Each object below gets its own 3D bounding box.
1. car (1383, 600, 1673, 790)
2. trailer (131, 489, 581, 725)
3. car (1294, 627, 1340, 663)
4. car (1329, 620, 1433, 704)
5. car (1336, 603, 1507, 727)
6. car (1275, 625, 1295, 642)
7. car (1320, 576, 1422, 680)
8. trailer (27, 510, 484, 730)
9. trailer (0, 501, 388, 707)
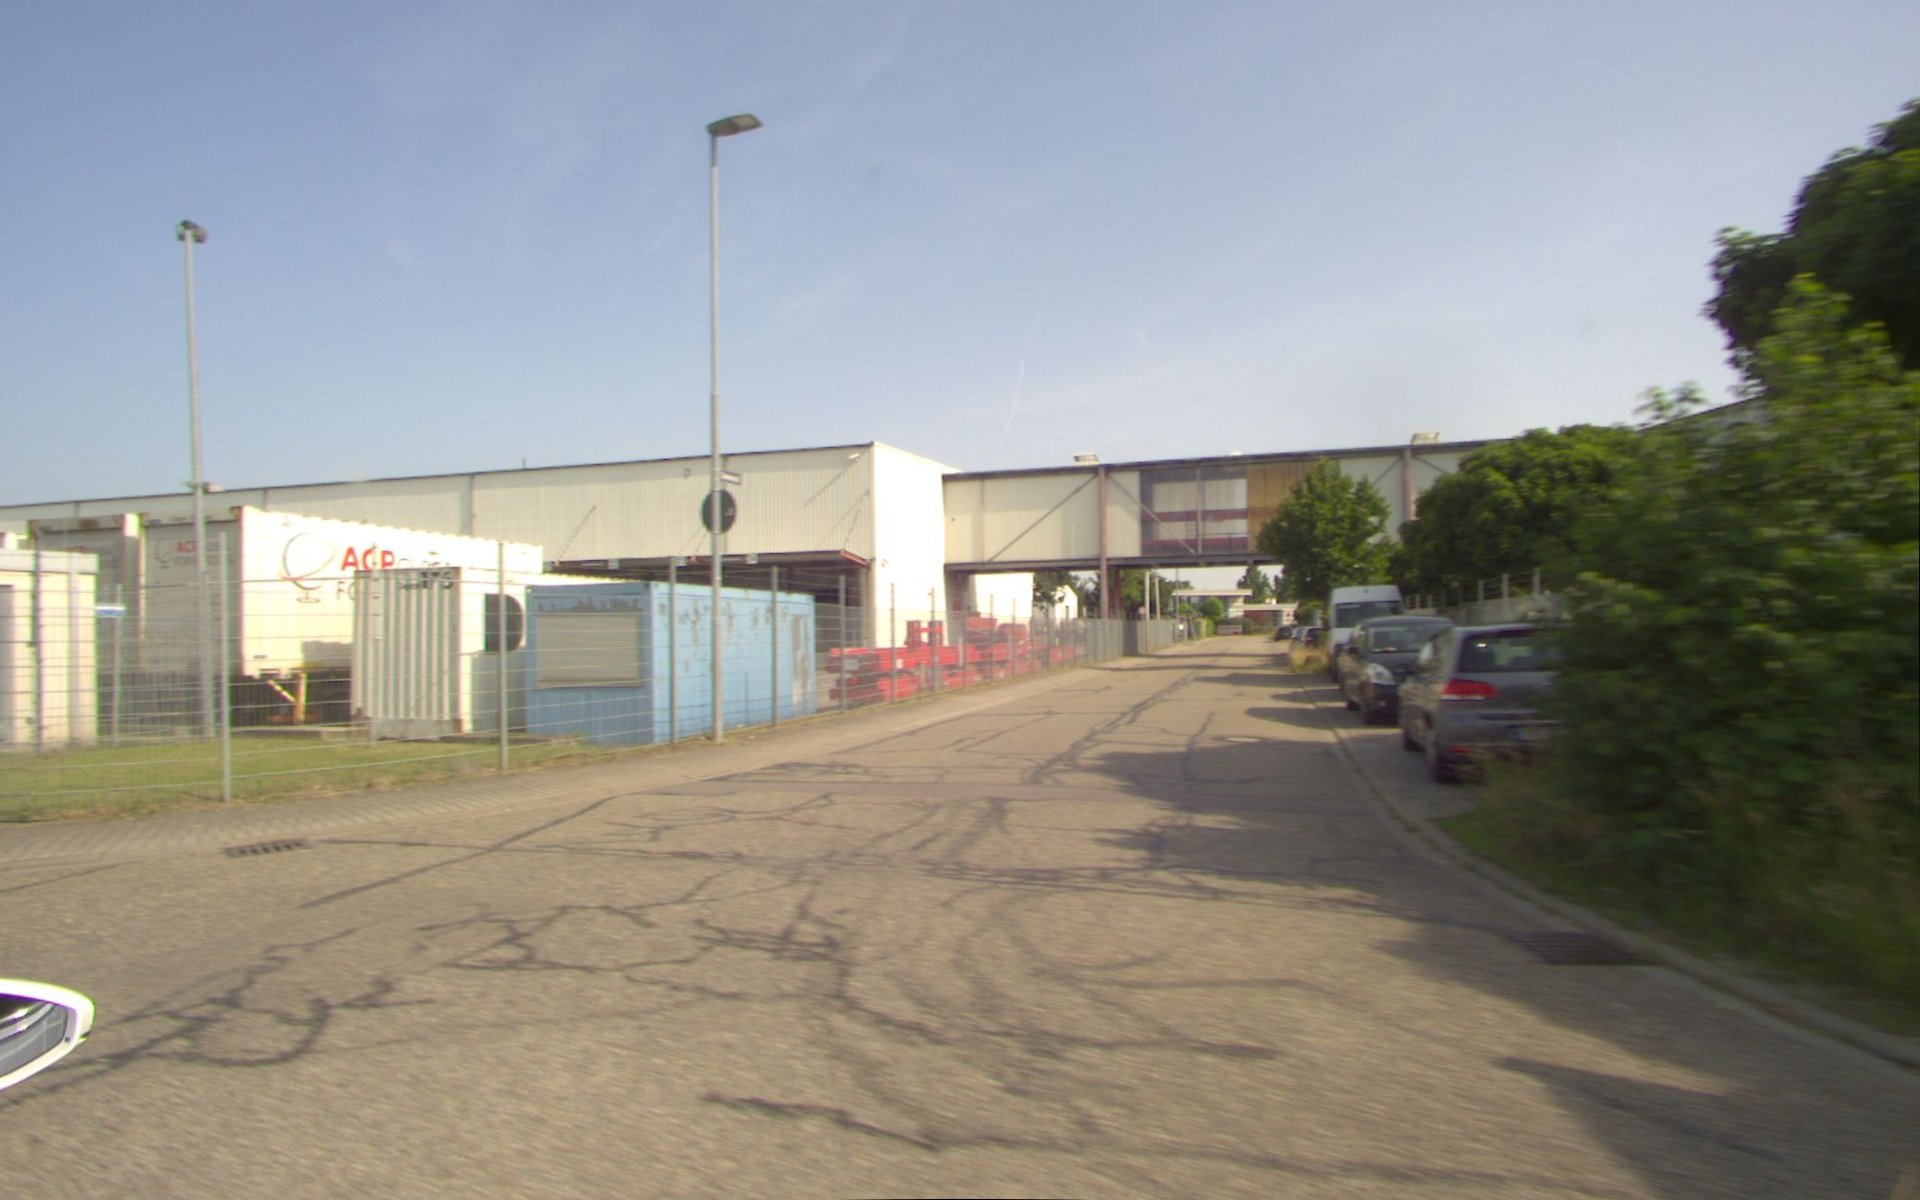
[{"bbox_3d":[5.545,0.895,10.325,1.697,1.542,3.957,-3,-3,17],"label":"car"},{"bbox_3d":[-12.126,0.317,21.437,2.727,3.941,8.555,-3,-3,17],"label":"trailer"},{"bbox_3d":[14.697,1.819,41.241,1.697,1.404,3.779,-1,-2,19],"label":"car"},{"bbox_3d":[8.849,1.273,21.355,1.698,1.536,4.485,-4,-3,19],"label":"car"},{"bbox_3d":[7.198,1.003,16.042,1.844,1.645,4.264,-3,-3,17],"label":"car"},{"bbox_3d":[30.675,3.191,94.462,1.697,1.543,3.779,-1,-2,19],"label":"car"},{"bbox_3d":[11.531,0.848,28.530,2.170,2.513,6.838,-4,-3,19],"label":"car"},{"bbox_3d":[-14.971,0.471,22.474,2.725,3.944,8.554,-1,-1,17],"label":"trailer"},{"bbox_3d":[-17.899,0.299,23.143,2.740,3.807,8.756,-1,-3,15],"label":"trailer"}]
